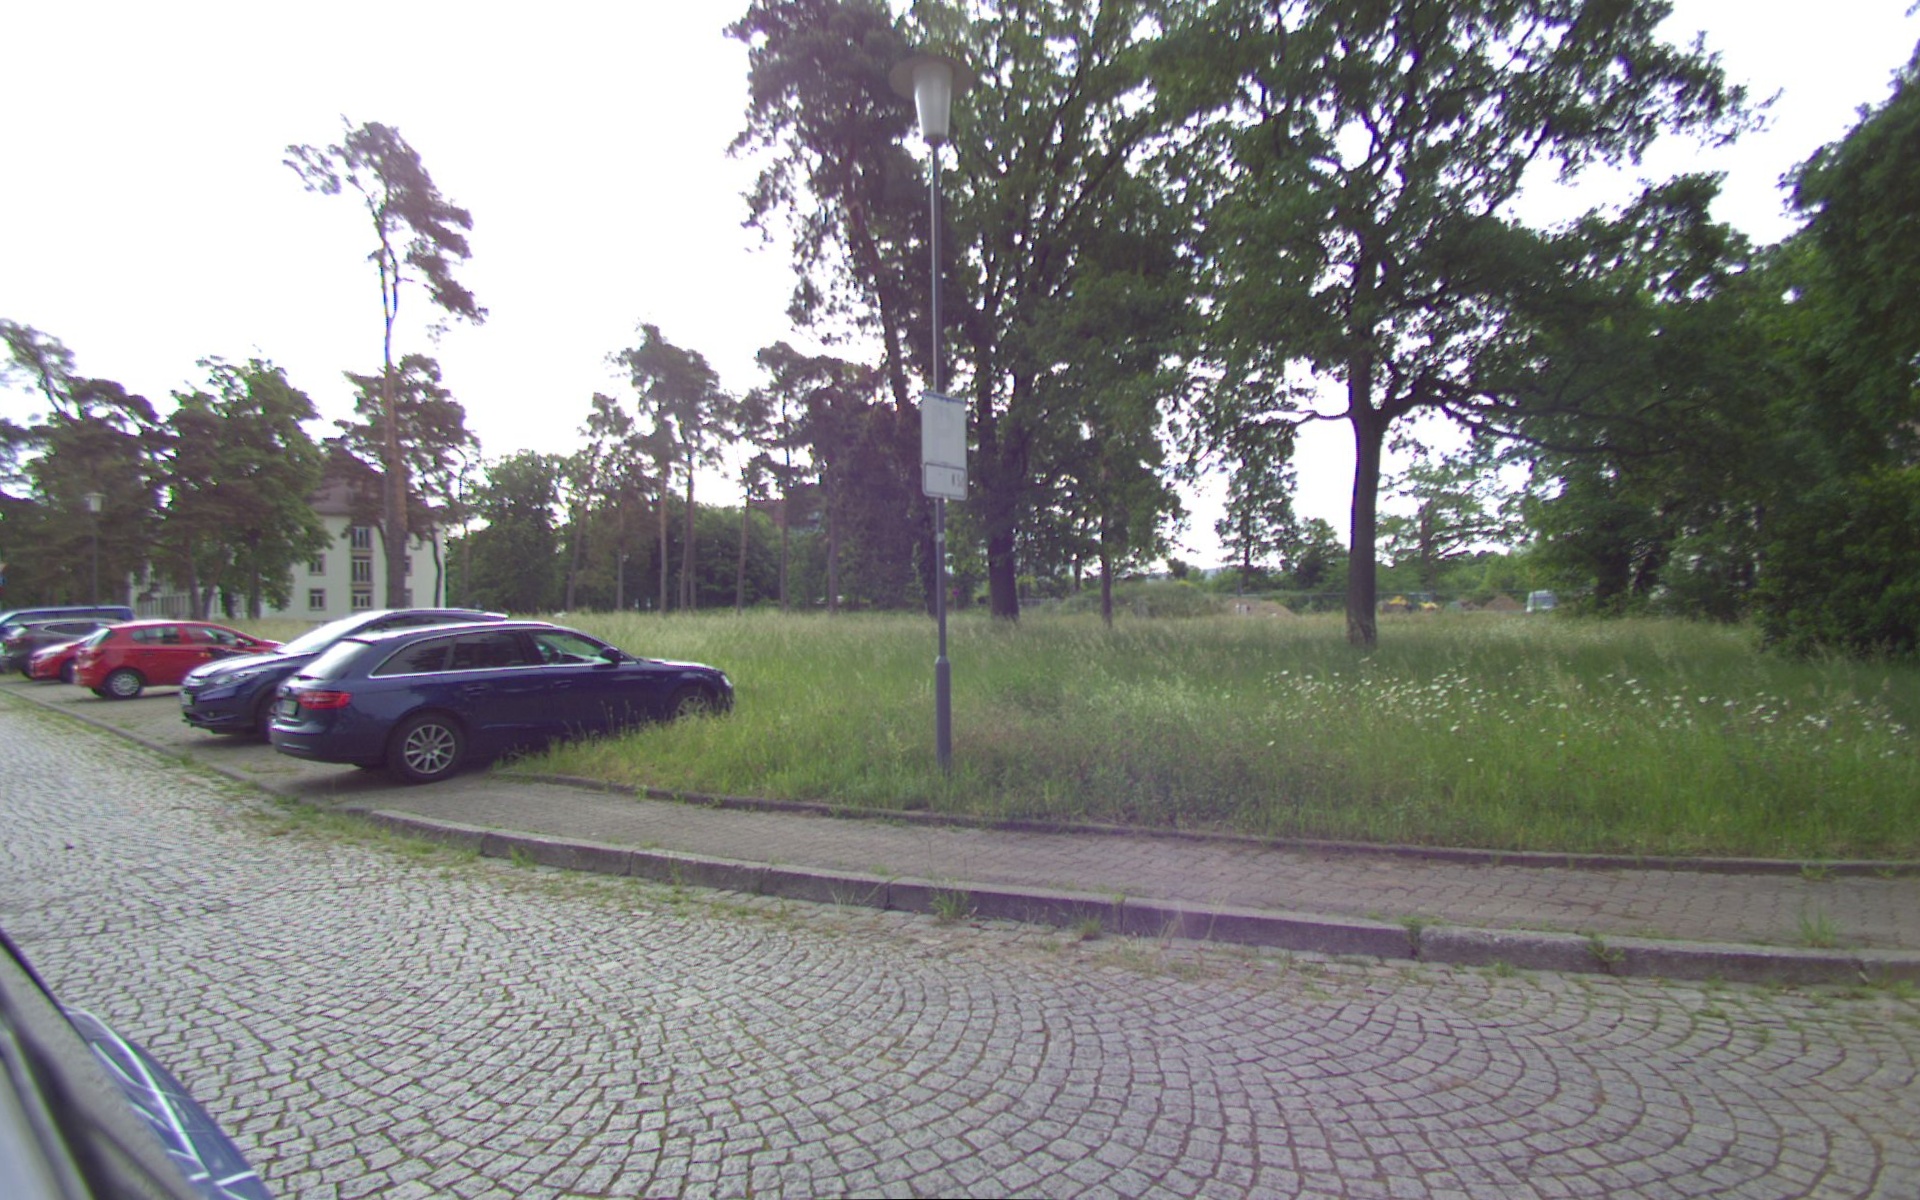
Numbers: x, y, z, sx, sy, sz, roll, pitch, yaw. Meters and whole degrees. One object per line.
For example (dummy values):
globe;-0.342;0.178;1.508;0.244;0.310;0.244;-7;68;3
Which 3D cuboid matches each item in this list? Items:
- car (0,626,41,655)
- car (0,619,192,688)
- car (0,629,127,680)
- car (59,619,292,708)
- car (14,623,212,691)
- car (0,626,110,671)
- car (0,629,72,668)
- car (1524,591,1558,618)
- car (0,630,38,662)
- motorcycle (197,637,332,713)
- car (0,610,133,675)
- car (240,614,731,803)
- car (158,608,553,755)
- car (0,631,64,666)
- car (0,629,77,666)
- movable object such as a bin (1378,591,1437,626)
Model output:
car;-47.734;2.039;49.492;1.582;1.349;3.901;-2;1;39
car;-23.587;1.393;27.570;1.762;1.557;3.901;-2;1;39
car;-28.500;1.690;31.559;1.582;1.349;3.647;-2;1;39
car;-15.891;1.215;20.627;1.601;1.493;3.454;-2;1;39
car;-21.522;1.391;25.821;1.576;1.432;3.616;-2;1;39
car;-33.859;1.782;37.097;1.582;1.445;3.901;-2;1;39
car;-36.610;1.880;38.590;1.582;1.349;3.901;-2;1;39
car;47.824;0.386;83.318;2.068;2.167;4.843;-2;-1;34
car;-44.104;2.132;45.346;1.582;1.349;3.901;-2;1;39
motorcycle;-12.220;1.284;17.844;0.549;1.202;1.892;-2;-1;36
car;-30.317;1.403;33.323;1.791;1.916;4.486;-2;1;39
car;-4.743;0.945;10.607;1.764;1.415;4.293;-2;0;43
car;-8.097;0.973;13.912;1.762;1.574;4.308;-2;0;39
car;-40.582;2.101;42.716;1.582;1.349;3.901;-2;1;39
car;-38.503;1.938;40.977;1.582;1.349;3.901;-2;1;39
movable object such as a bin;34.942;0.686;79.177;1.971;2.575;5.350;-1;-1;-3
